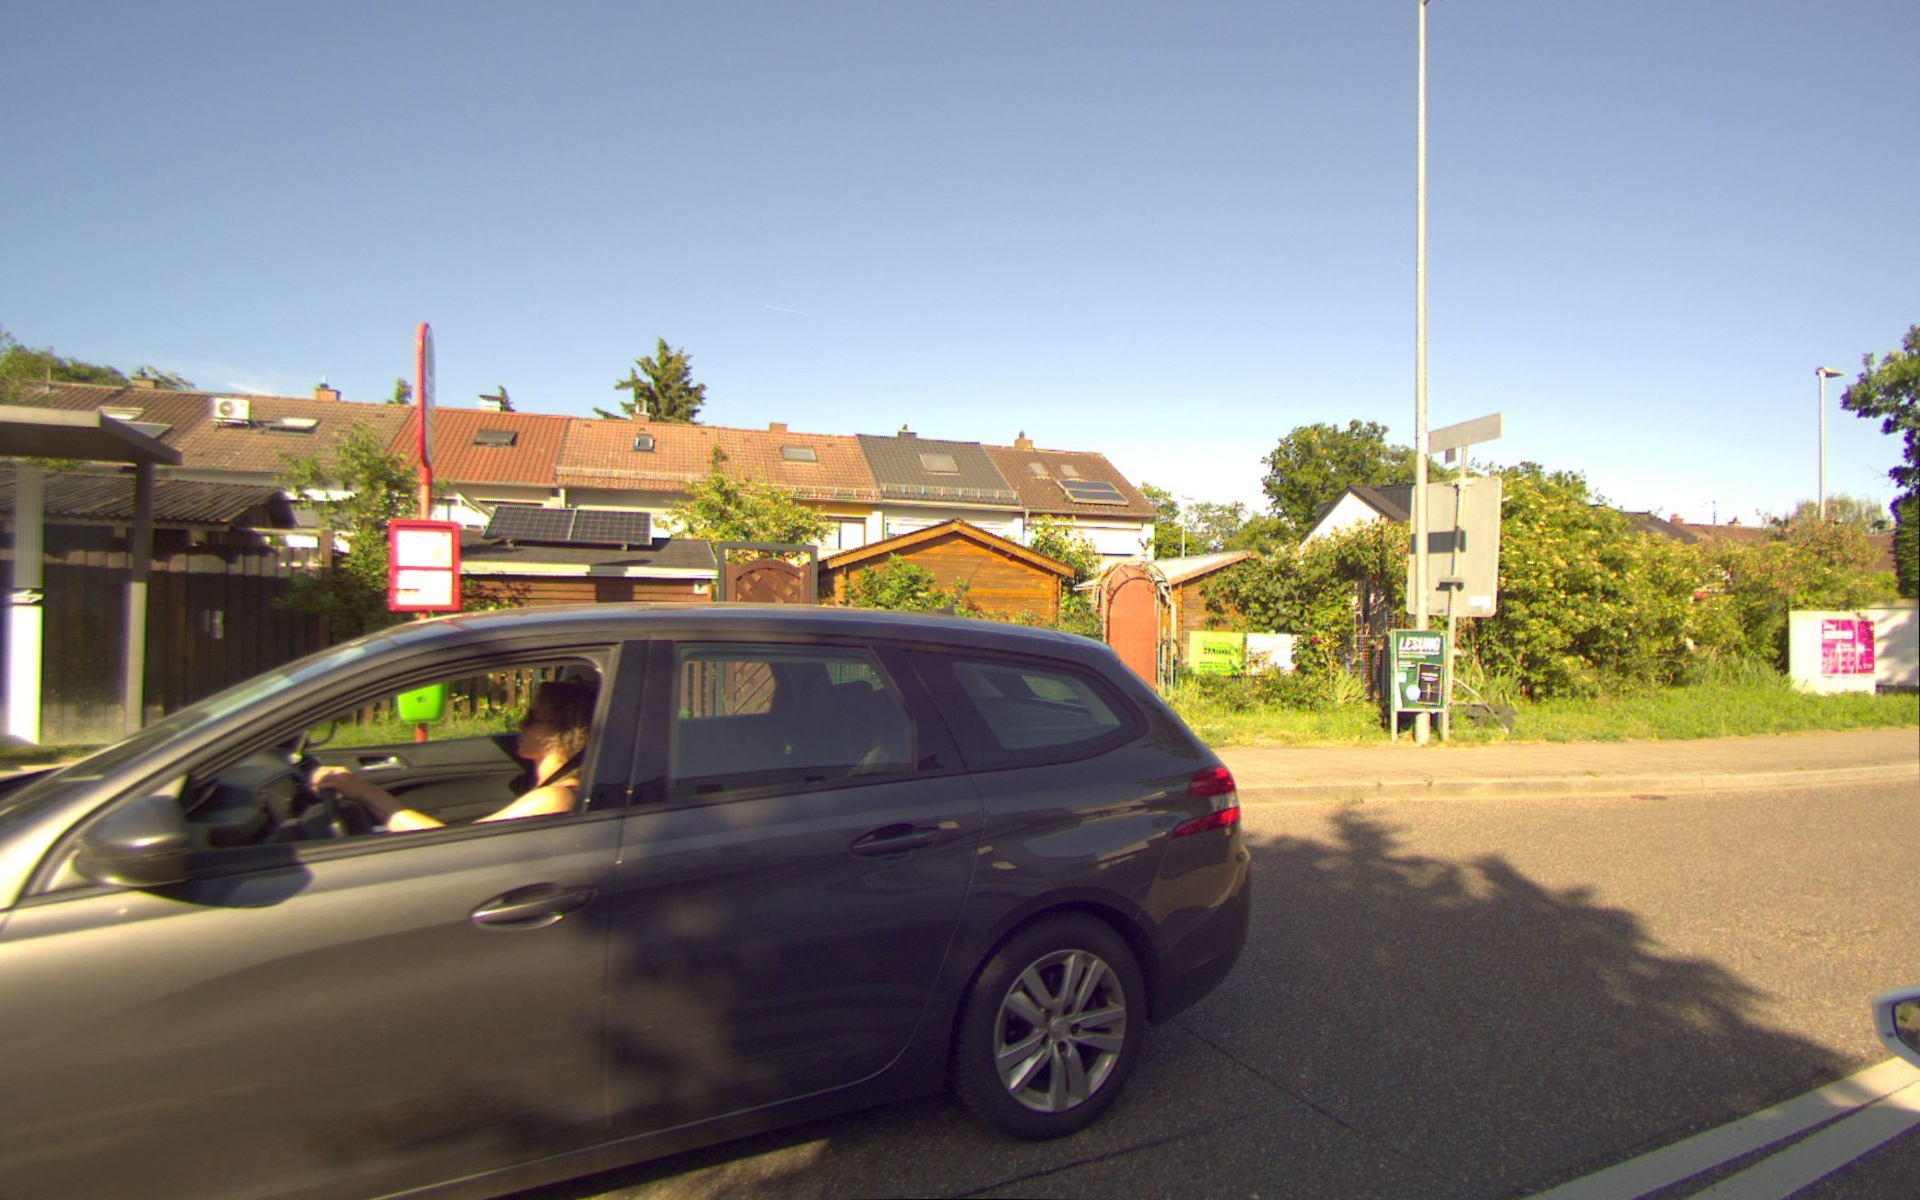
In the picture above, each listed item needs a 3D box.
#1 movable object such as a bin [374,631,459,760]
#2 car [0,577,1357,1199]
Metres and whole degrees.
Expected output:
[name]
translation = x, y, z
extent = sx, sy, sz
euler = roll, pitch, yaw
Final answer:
[movable object such as a bin]
translation = -4.506, 0.775, 8.355
extent = 0.550, 0.981, 0.591
euler = 1, 2, -23
[car]
translation = -1.137, 0.716, 3.069
extent = 4.394, 1.463, 1.986
euler = 2, 0, -28
